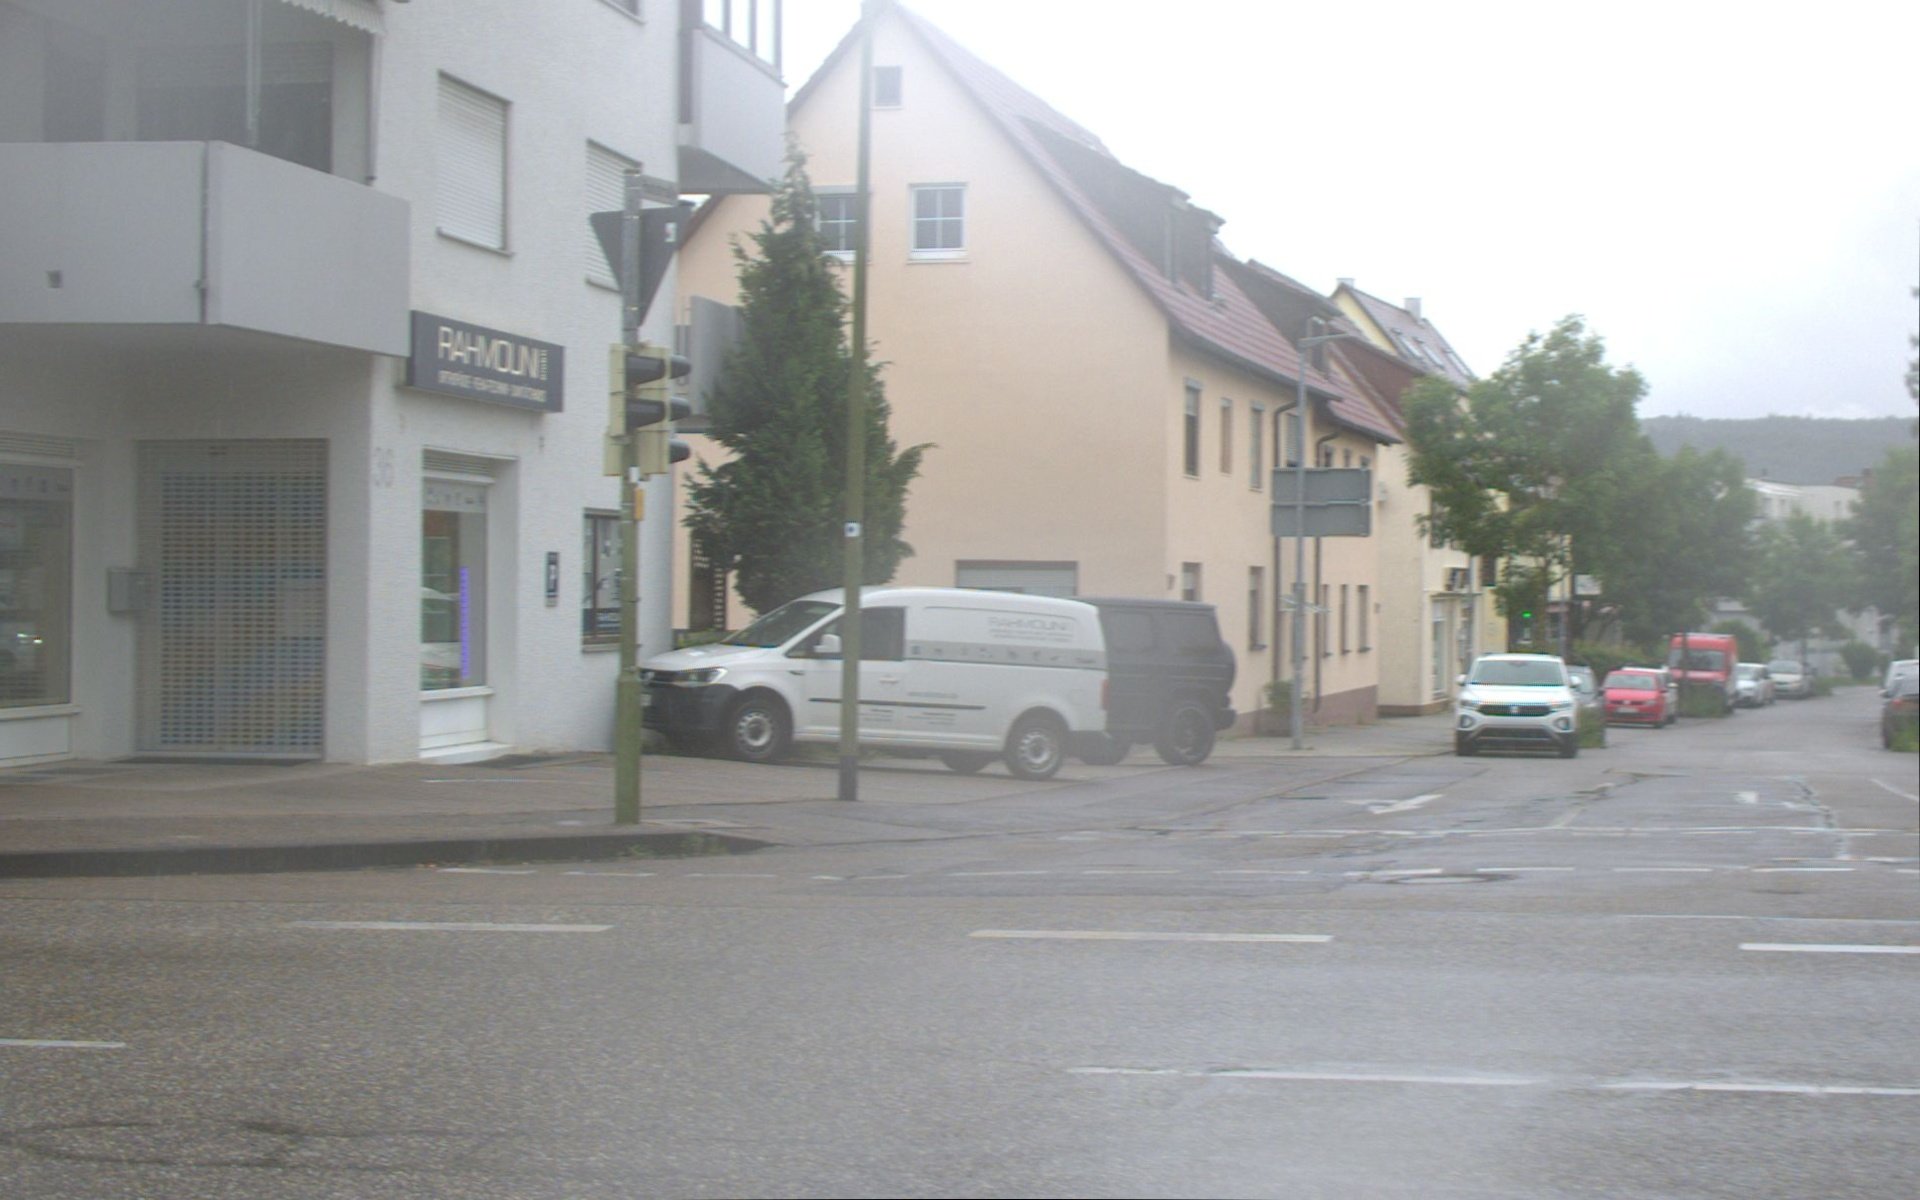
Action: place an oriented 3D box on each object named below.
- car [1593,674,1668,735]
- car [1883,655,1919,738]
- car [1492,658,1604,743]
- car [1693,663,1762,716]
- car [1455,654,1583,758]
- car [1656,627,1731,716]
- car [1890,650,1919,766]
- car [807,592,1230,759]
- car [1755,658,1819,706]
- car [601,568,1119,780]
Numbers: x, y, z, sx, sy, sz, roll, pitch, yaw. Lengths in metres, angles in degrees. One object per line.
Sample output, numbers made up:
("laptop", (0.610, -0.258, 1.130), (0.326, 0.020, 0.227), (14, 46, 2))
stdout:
("car", (17.093, 2.672, 87.763), (1.768, 1.513, 3.998), (-1, -2, 10))
("car", (24.089, 2.399, 85.428), (1.995, 2.007, 3.996), (-1, -2, 18))
("car", (10.867, 1.867, 63.369), (1.768, 1.513, 4.191), (-1, -2, 13))
("car", (26.860, 3.139, 120.282), (1.995, 1.678, 3.996), (-1, -4, 18))
("car", (8.552, 1.619, 52.394), (1.768, 1.518, 3.997), (-1, -2, 11))
("car", (23.286, 2.303, 109.032), (2.218, 2.759, 5.720), (-1, -2, 13))
("car", (18.463, 2.040, 63.987), (1.995, 2.007, 3.995), (-1, -4, 18))
("car", (0.696, 0.908, 40.649), (4.606, 1.883, 1.963), (1, -2, -26))
("car", (32.476, 3.249, 134.948), (1.995, 1.700, 3.995), (-1, -4, 20))
("car", (-0.964, 0.772, 33.849), (4.712, 1.773, 1.773), (4, -4, -26))
